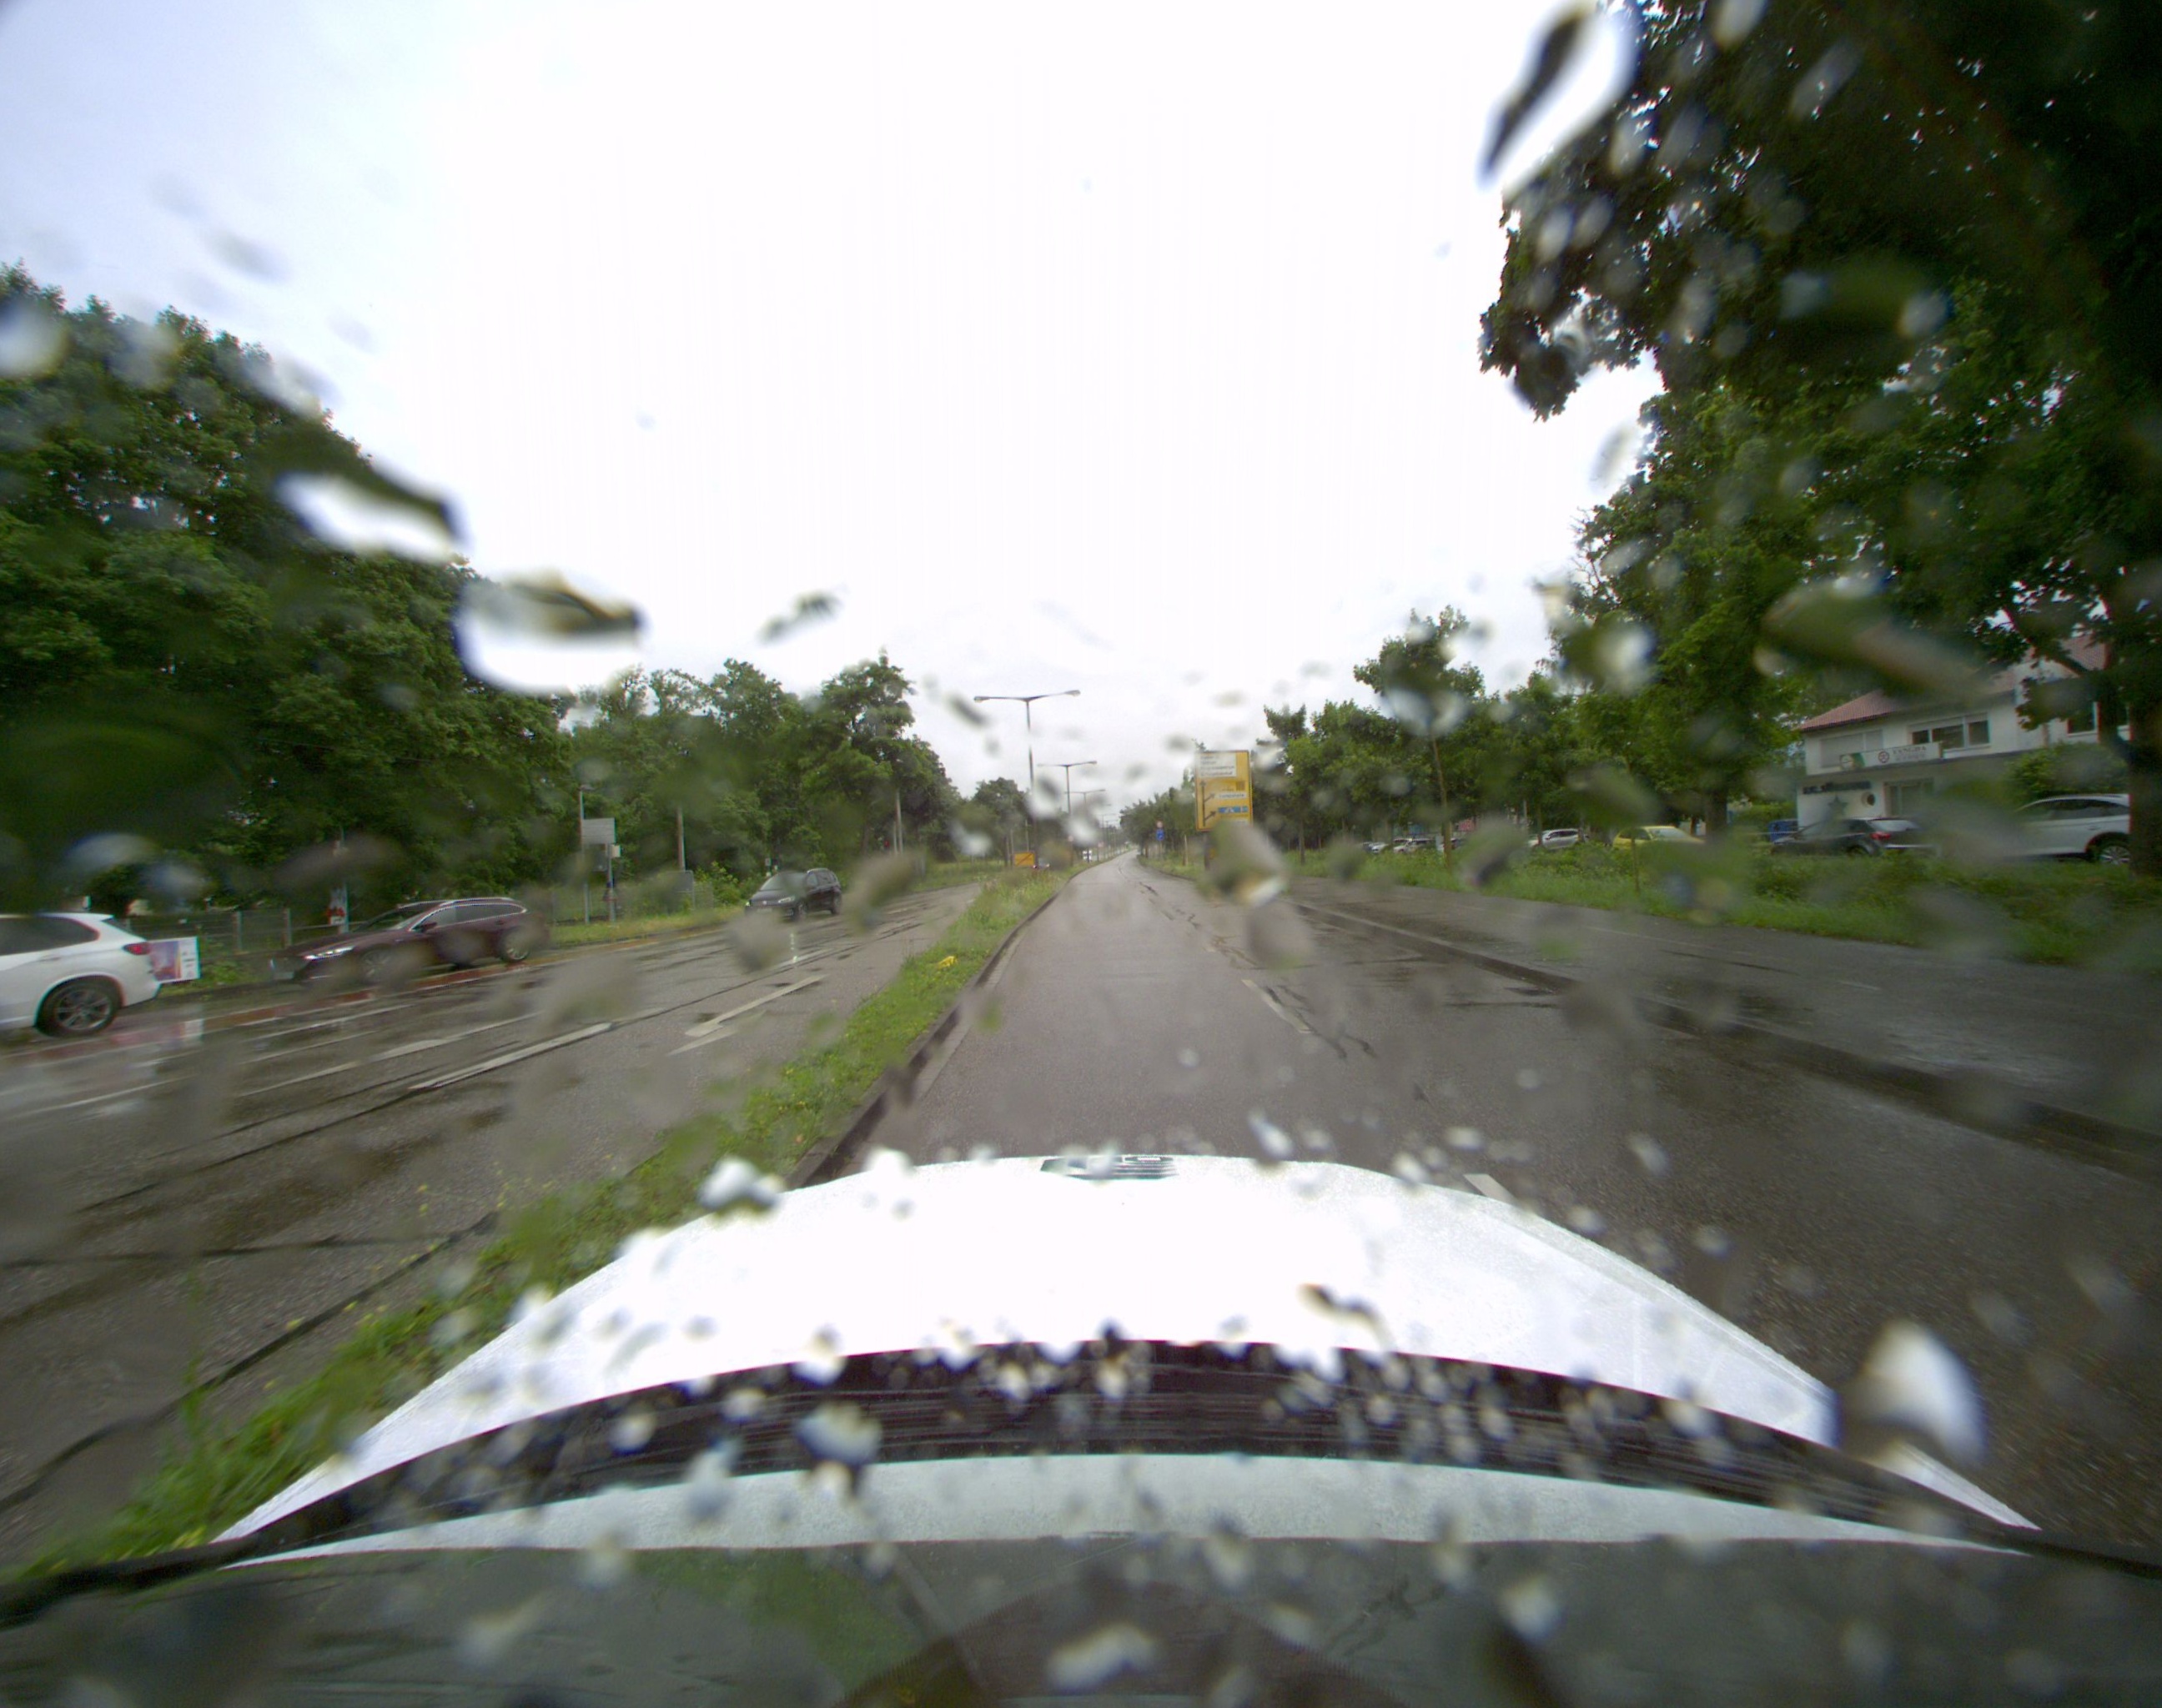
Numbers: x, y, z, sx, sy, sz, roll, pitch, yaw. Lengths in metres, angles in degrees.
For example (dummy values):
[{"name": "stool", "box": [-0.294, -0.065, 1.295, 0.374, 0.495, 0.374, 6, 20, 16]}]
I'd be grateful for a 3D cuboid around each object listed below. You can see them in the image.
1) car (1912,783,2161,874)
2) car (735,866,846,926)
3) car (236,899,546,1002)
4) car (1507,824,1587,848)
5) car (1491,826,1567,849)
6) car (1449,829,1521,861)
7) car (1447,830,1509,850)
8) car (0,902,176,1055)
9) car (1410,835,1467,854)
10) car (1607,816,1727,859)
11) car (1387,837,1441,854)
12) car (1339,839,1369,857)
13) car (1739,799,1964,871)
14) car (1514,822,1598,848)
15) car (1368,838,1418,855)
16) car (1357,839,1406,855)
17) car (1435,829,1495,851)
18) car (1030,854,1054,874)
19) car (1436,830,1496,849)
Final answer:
[{"name": "car", "box": [21.299, -0.520, 17.452, 1.986, 1.717, 4.880, -3, -1, 1]}, {"name": "car", "box": [-9.655, 1.348, 27.454, 1.698, 1.641, 4.338, -5, 0, 6]}, {"name": "car", "box": [-13.793, 1.860, 16.712, 1.858, 1.485, 4.525, -4, 0, 15]}, {"name": "car", "box": [31.639, -1.202, 55.396, 4.321, 1.484, 1.945, -1, -1, -1]}, {"name": "car", "box": [31.758, -1.181, 57.794, 4.321, 1.484, 1.945, -1, -1, -1]}, {"name": "car", "box": [23.250, -0.488, 47.097, 1.985, 1.625, 4.646, -3, -1, 3]}, {"name": "car", "box": [31.818, -1.128, 65.335, 4.114, 1.460, 1.791, -1, -1, 2]}, {"name": "car", "box": [-14.643, 1.618, 9.733, 1.982, 1.827, 4.783, -1, -1, 9]}, {"name": "car", "box": [32.840, -0.865, 74.856, 4.321, 1.557, 1.945, -1, -1, -1]}, {"name": "car", "box": [22.022, -0.563, 30.811, 1.631, 1.486, 4.074, -1, -1, 1]}, {"name": "car", "box": [32.803, -0.813, 80.220, 4.546, 1.557, 1.949, -1, -1, 6]}, {"name": "car", "box": [25.158, -0.579, 75.208, 1.736, 1.445, 4.129, -3, 1, 6]}, {"name": "car", "box": [21.551, -0.469, 23.118, 1.986, 1.717, 4.642, -3, -1, 1]}, {"name": "car", "box": [30.805, -1.210, 52.895, 4.321, 1.503, 1.923, -1, -1, -1]}, {"name": "car", "box": [32.797, -0.761, 85.711, 4.556, 1.705, 1.999, -1, -1, -1]}, {"name": "car", "box": [32.656, -0.730, 88.622, 4.558, 1.645, 1.998, -1, -1, -3]}, {"name": "car", "box": [33.513, -1.202, 71.169, 4.321, 1.725, 1.945, -1, -1, -1]}, {"name": "car", "box": [-3.618, 0.903, 75.725, 1.737, 1.650, 4.138, -5, 0, 2]}, {"name": "car", "box": [32.152, -1.205, 68.148, 4.176, 1.484, 1.760, -1, -1, -1]}]
